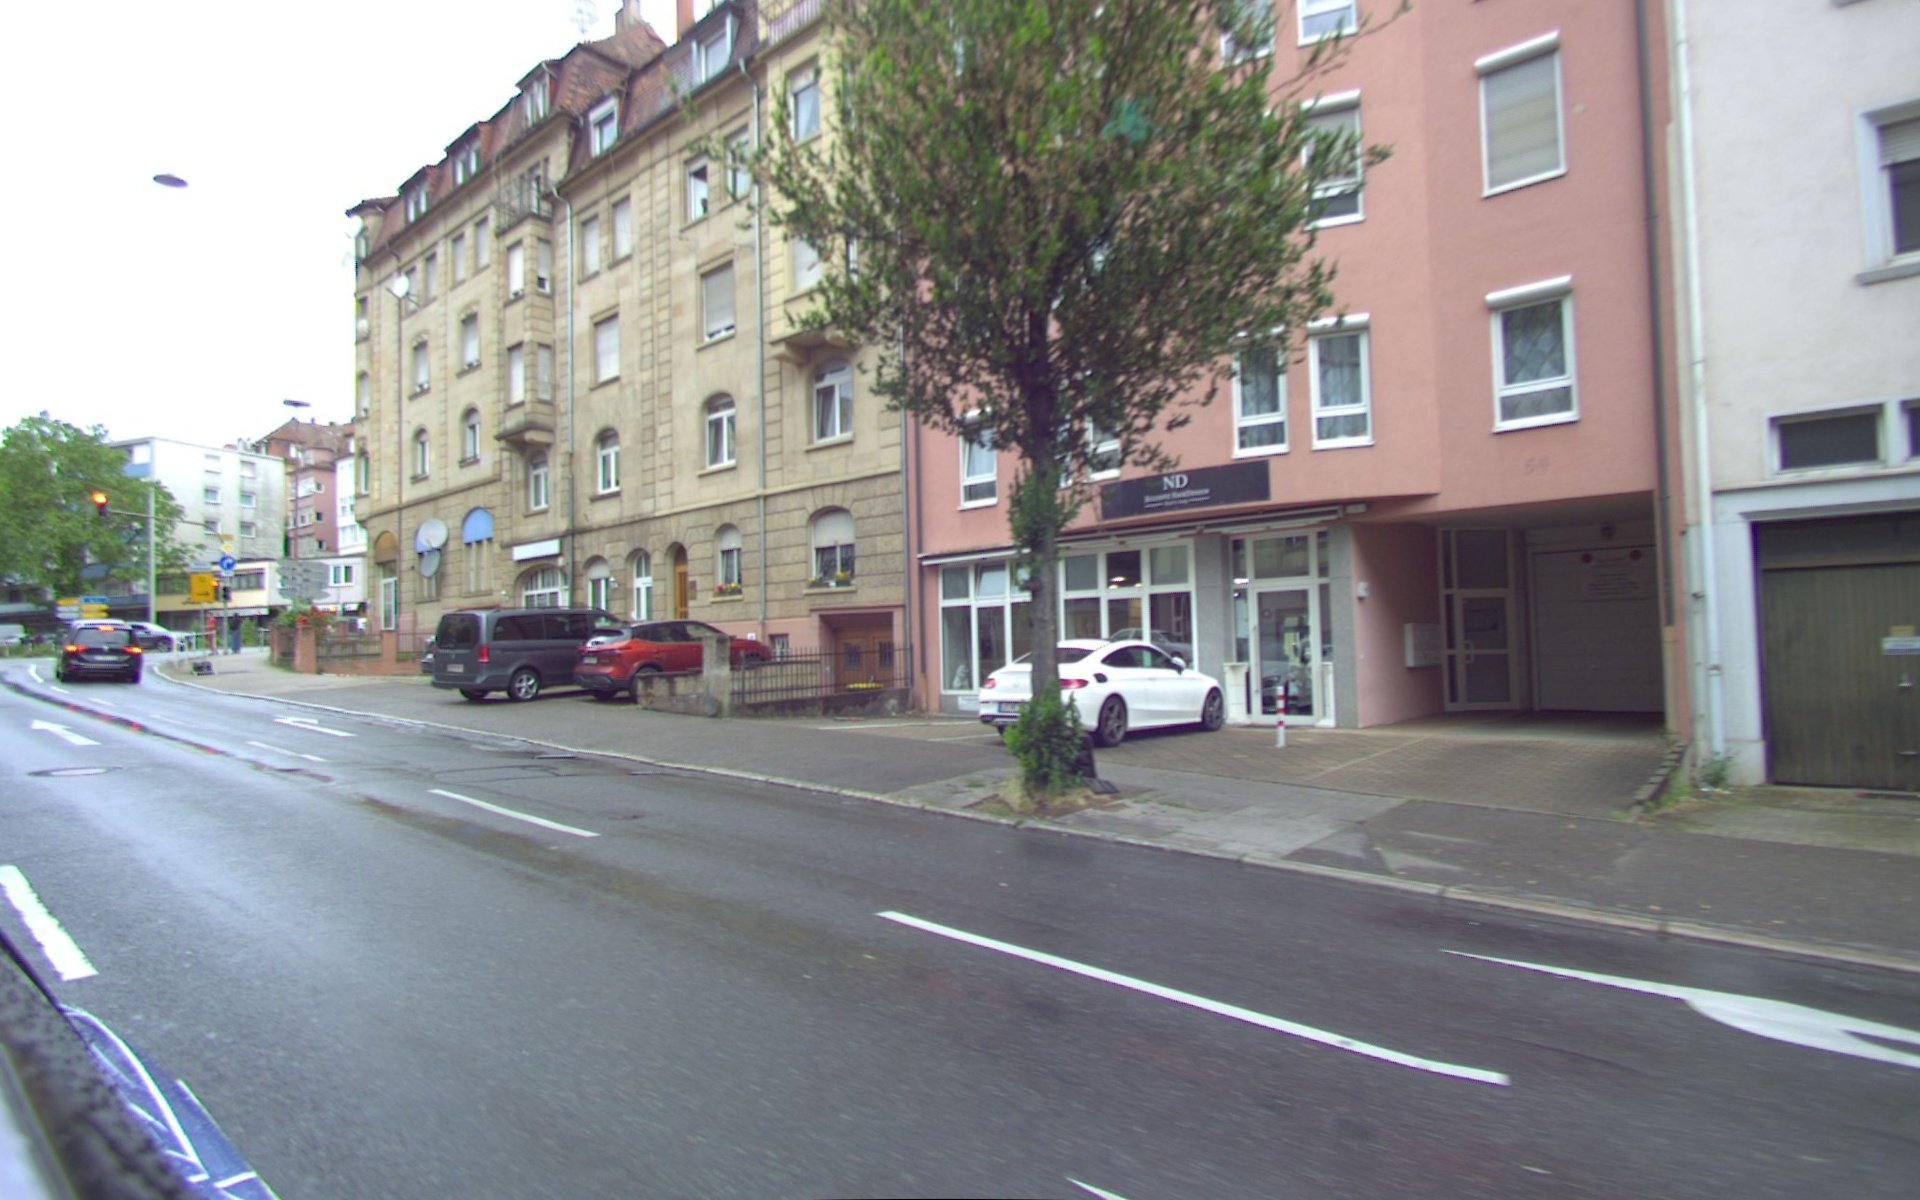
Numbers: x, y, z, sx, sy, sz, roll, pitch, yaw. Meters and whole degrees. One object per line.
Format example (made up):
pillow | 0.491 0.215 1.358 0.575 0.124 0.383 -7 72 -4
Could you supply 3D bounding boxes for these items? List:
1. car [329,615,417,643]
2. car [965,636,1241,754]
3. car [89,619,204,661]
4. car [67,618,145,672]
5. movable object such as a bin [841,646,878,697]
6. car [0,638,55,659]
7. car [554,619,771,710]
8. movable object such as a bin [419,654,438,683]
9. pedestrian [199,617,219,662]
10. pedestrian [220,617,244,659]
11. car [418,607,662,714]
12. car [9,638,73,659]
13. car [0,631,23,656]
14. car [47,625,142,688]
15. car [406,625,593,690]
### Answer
car | -33.513 1.667 57.842 4.115 1.494 1.760 0 -2 -40
car | 2.197 1.241 14.461 1.766 1.412 4.500 -2 -3 41
car | -42.790 2.097 53.327 4.443 2.029 1.918 -1 0 -3
car | -30.100 1.530 35.777 1.940 1.706 4.817 0 0 -39
movable object such as a bin | -2.101 1.477 21.079 0.526 1.004 0.551 -1 -1 -44
car | -73.307 3.774 78.984 1.790 1.426 3.697 -1 0 7
car | -6.240 1.277 21.556 1.896 1.602 4.055 -1 0 40
movable object such as a bin | -18.030 2.315 34.350 0.469 0.957 0.418 0 -1 -44
pedestrian | -30.187 1.571 40.680 0.516 1.787 0.694 -1 -1 -42
pedestrian | -30.515 1.595 42.417 0.829 1.715 0.629 -2 -1 44
car | -8.892 1.195 21.845 1.857 1.953 4.640 -2 0 31
car | -71.073 3.760 78.353 1.609 1.426 3.619 -1 0 3
car | -78.116 3.531 80.645 1.861 1.992 4.957 -1 0 12
car | -24.958 1.600 29.130 4.421 1.662 1.602 -2 -5 44
car | -12.042 1.452 26.657 1.872 1.522 4.104 -2 -2 41
